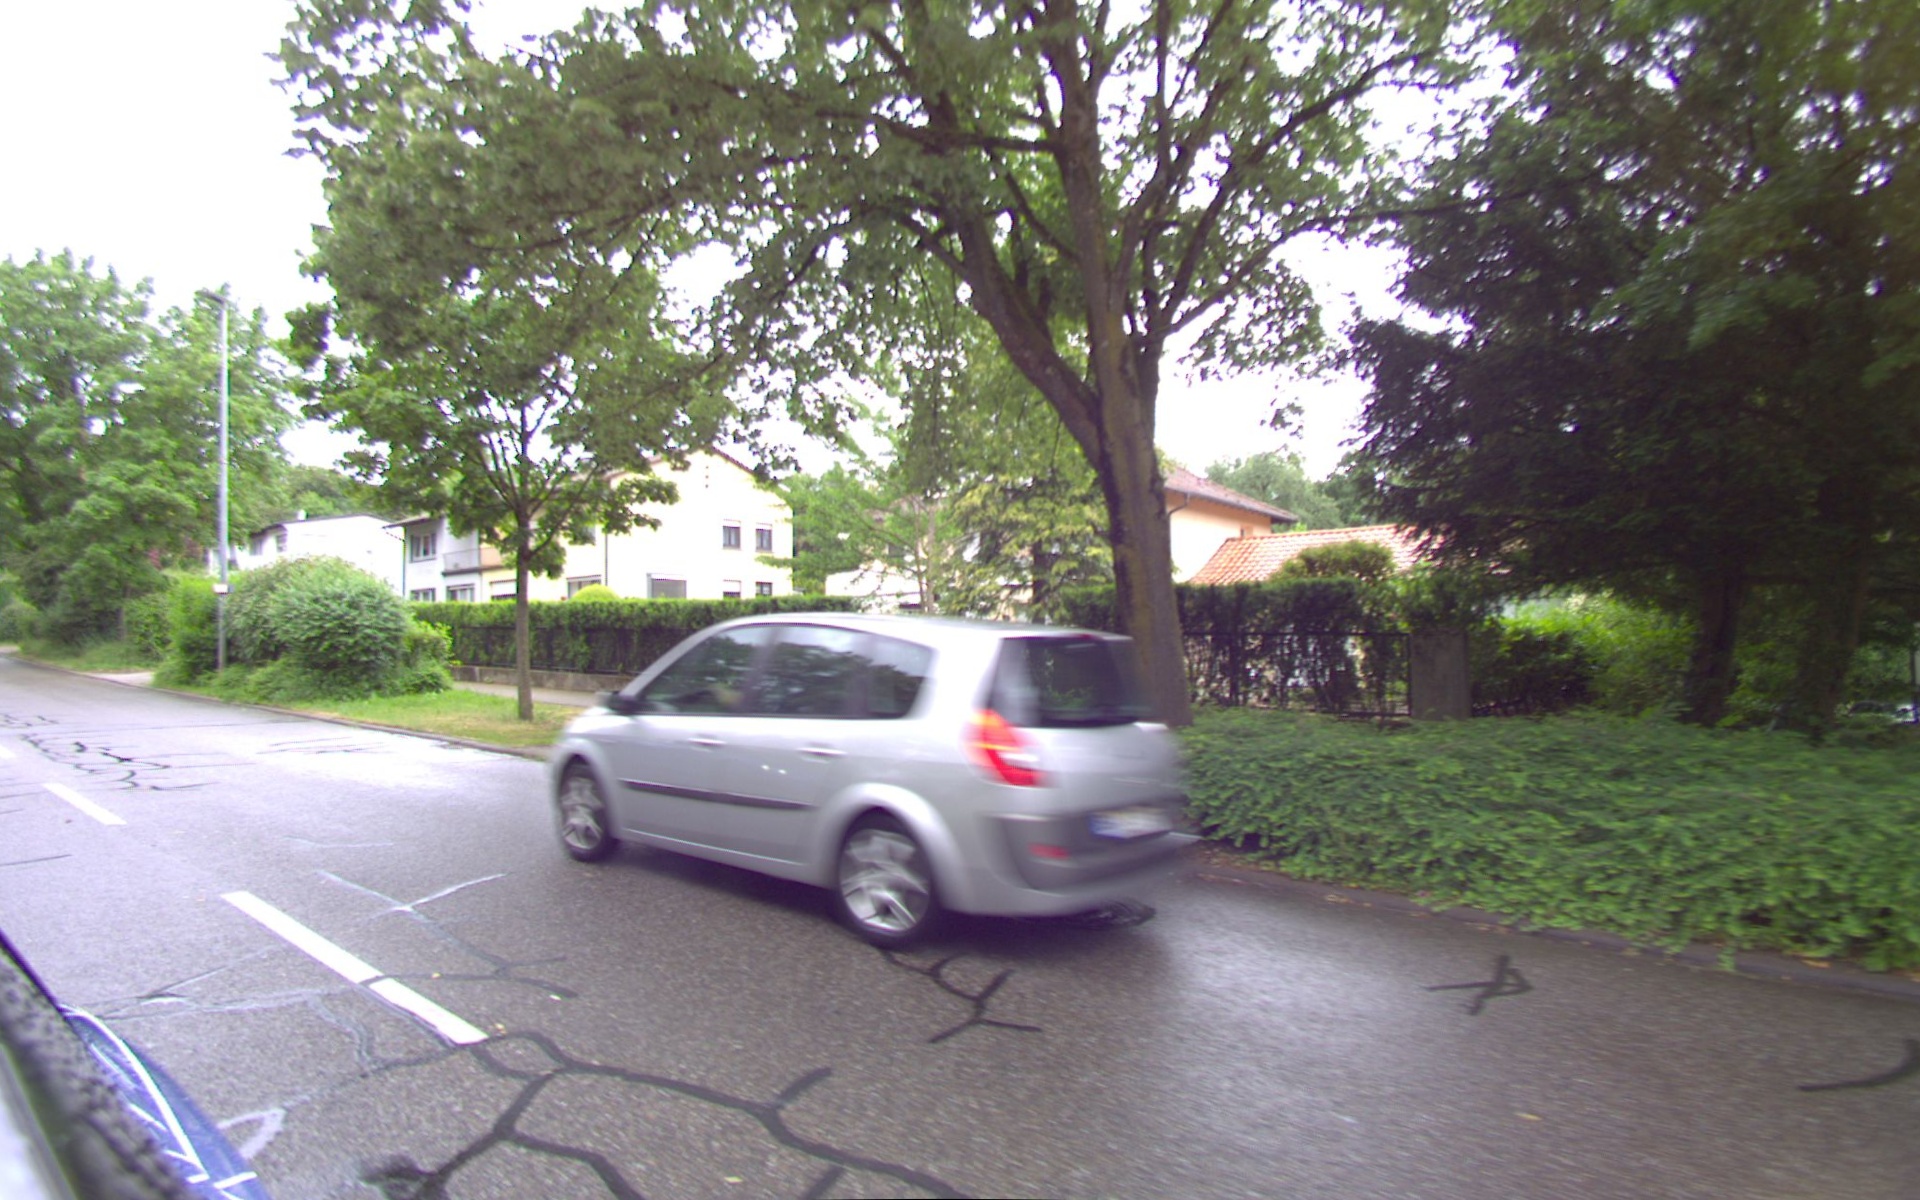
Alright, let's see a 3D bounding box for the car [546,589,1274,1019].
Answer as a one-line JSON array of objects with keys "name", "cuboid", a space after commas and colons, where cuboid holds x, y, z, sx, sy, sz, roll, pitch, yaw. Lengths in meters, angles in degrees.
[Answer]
[{"name": "car", "cuboid": [-0.523, 0.861, 5.869, 4.138, 1.626, 1.745, -2, -4, 40]}]
